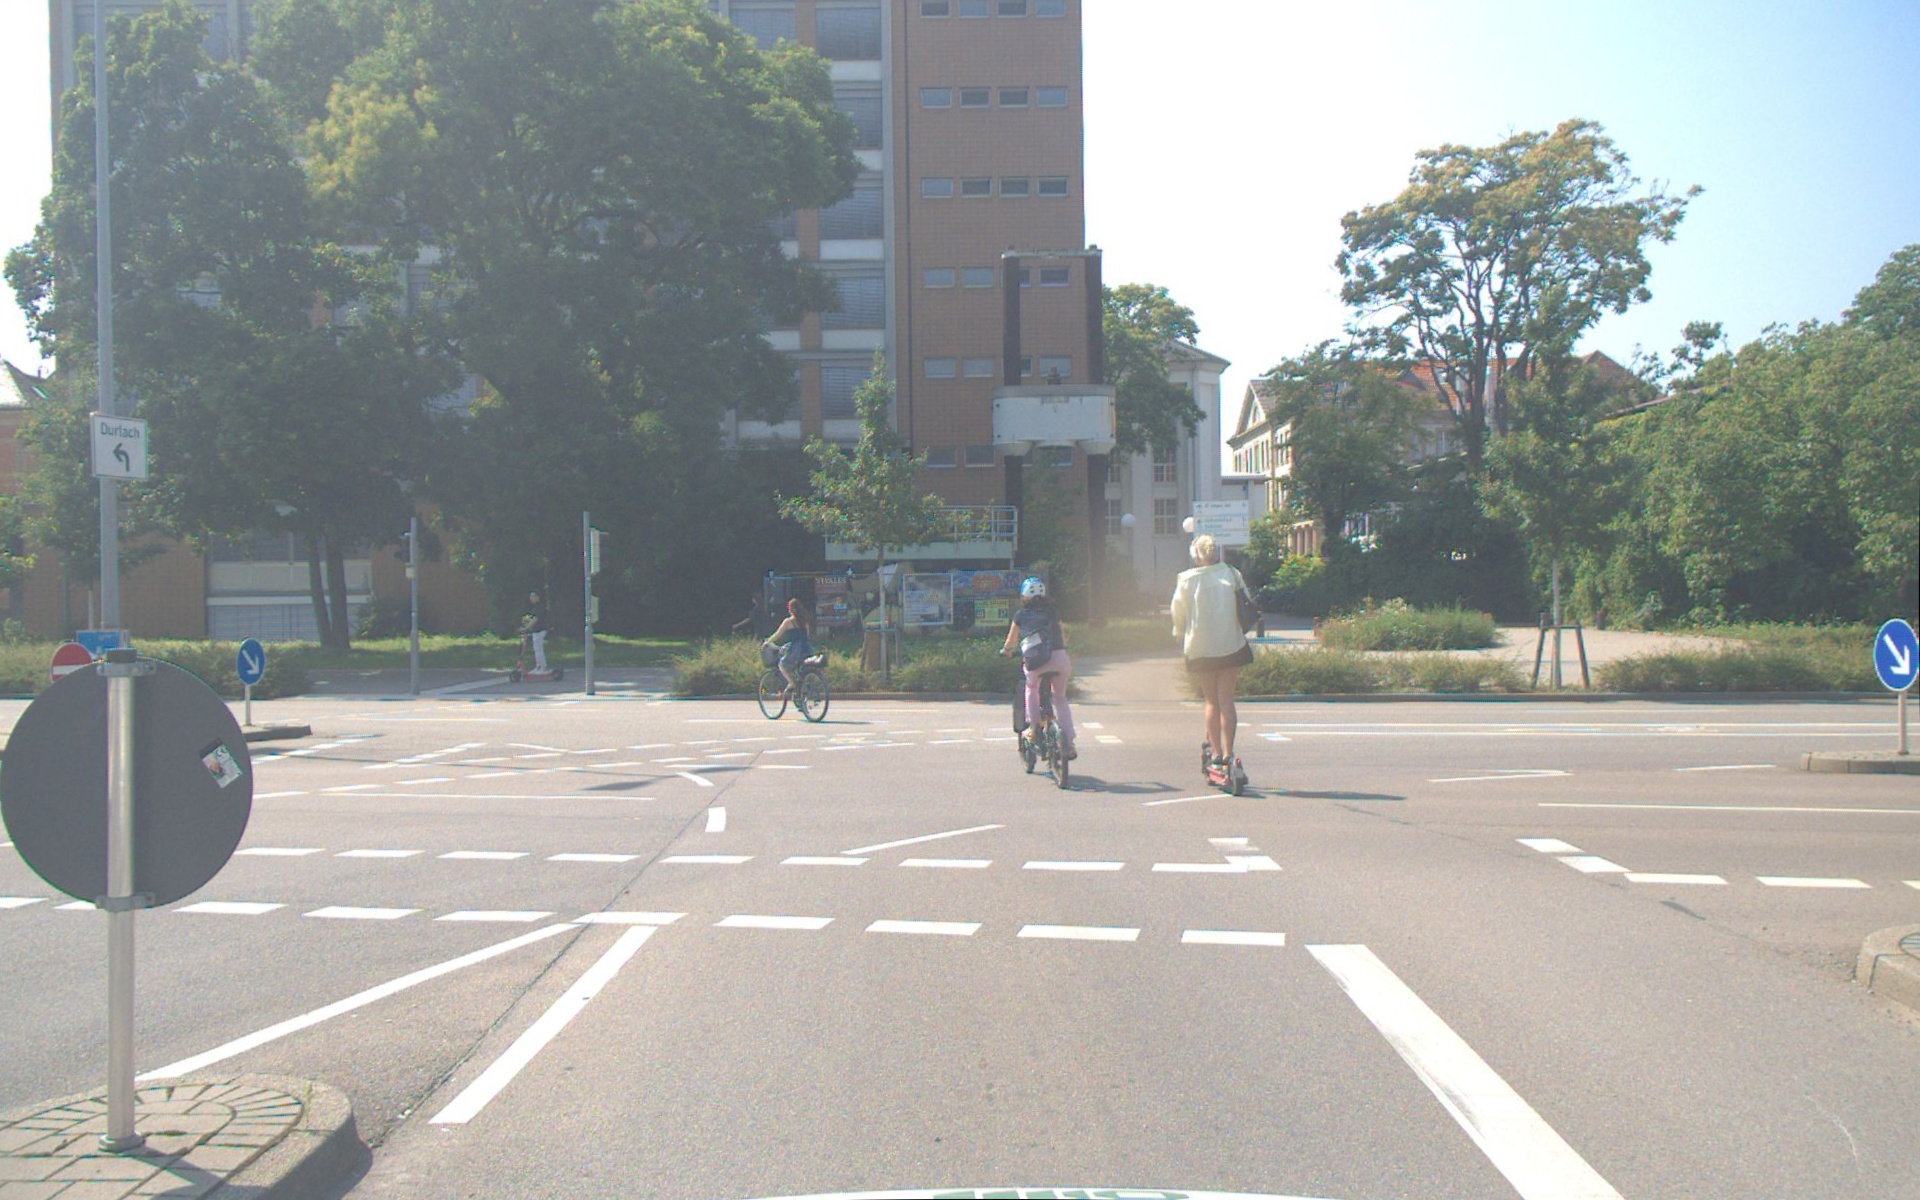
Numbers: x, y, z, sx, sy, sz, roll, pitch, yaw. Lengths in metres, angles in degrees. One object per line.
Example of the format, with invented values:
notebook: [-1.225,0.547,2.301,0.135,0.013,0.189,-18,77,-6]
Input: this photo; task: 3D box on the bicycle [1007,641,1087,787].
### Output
bicycle: [0.695,0.897,13.665,0.545,1.078,2.004,-1,-1,0]

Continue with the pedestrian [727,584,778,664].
pedestrian: [-4.613,0.527,36.725,0.858,1.734,0.708,-1,2,18]

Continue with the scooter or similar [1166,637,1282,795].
scooter or similar: [1.976,0.832,12.585,0.545,1.078,2.004,-1,-1,0]

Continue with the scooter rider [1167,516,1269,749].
scooter rider: [1.963,0.248,12.640,0.656,1.729,0.539,-1,-1,0]

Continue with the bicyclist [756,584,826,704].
bicyclist: [-2.418,0.611,23.623,0.683,1.626,0.836,-3,2,-30]

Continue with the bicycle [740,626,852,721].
bicycle: [-2.364,1.018,23.557,0.686,1.175,2.348,-3,2,-29]

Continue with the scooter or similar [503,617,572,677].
scooter or similar: [-9.085,1.010,35.554,1.335,1.256,0.585,-1,0,21]

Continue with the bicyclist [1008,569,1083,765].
bicyclist: [0.684,0.527,13.364,0.537,1.522,0.803,-1,-1,0]

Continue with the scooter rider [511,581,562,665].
scooter rider: [-9.087,0.484,35.491,0.786,1.770,0.689,-1,0,20]
